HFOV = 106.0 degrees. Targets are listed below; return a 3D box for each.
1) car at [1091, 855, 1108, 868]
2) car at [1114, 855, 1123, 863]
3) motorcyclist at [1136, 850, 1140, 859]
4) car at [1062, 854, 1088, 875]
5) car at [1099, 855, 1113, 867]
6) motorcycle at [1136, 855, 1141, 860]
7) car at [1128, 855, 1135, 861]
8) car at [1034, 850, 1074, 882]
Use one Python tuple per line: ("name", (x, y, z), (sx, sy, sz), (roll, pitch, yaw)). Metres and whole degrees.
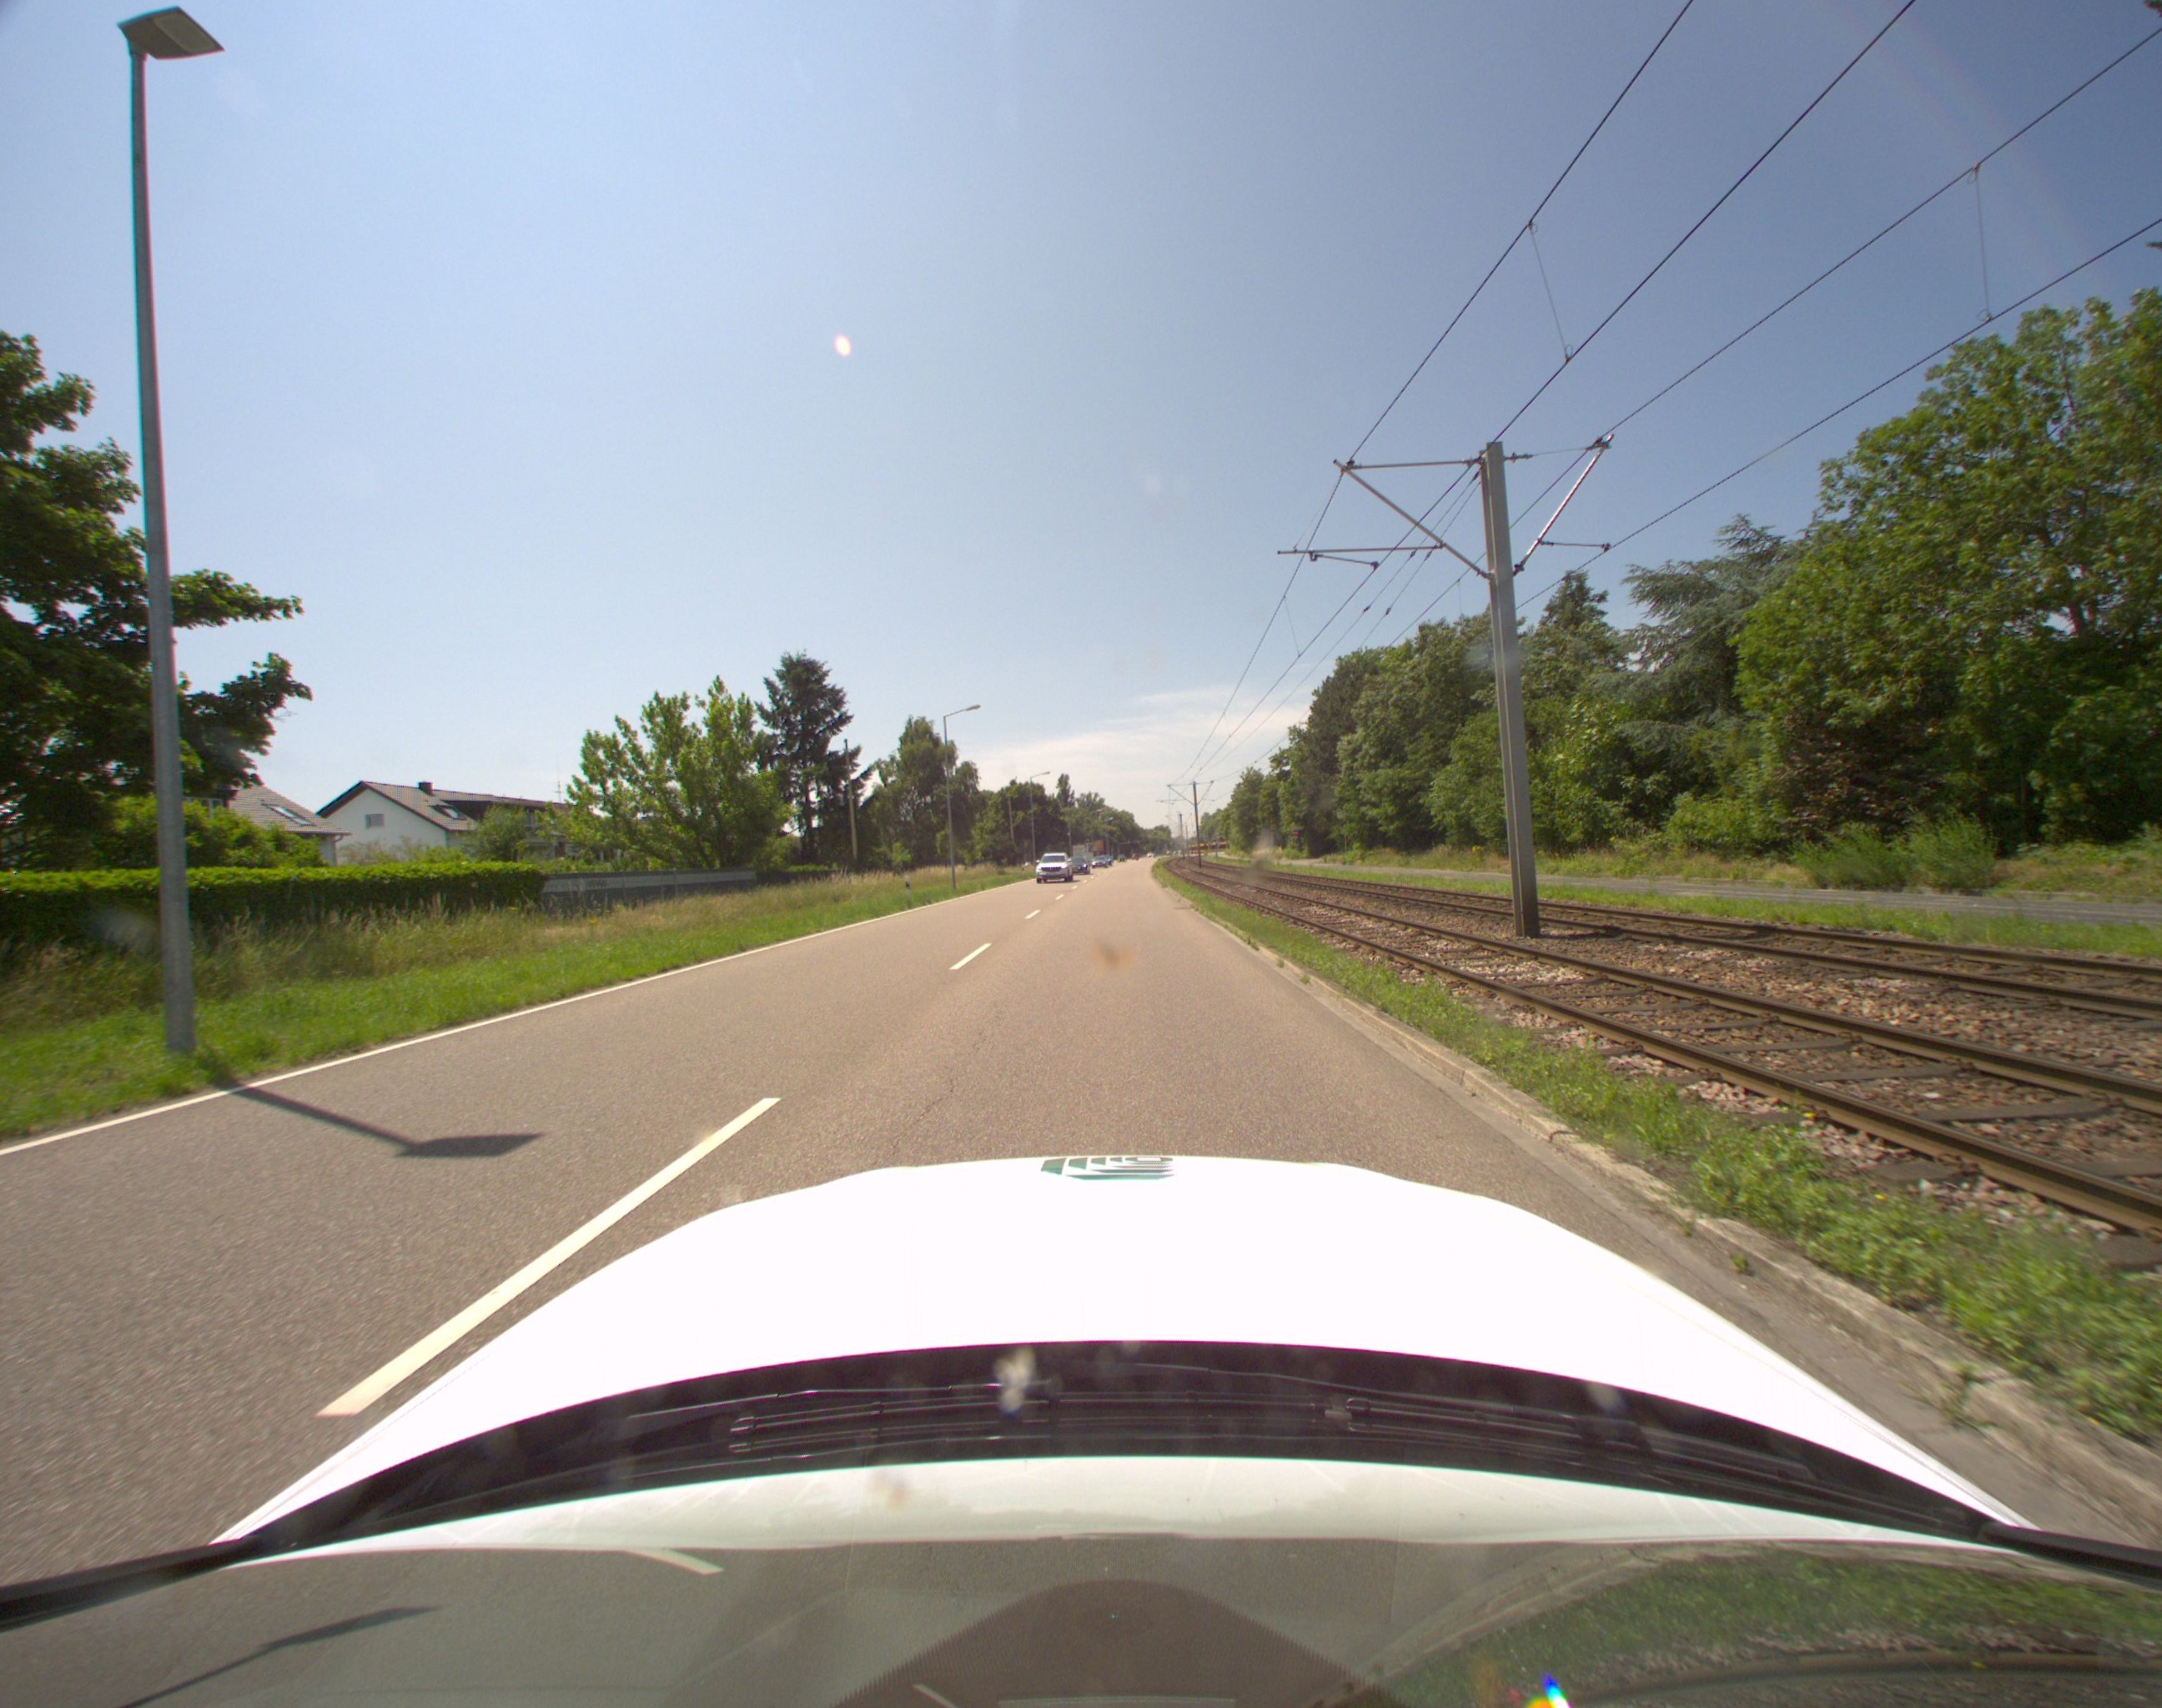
("car", (2.213, 0.880, 96.432), (1.810, 1.493, 4.367), (-3, -1, 3))
("car", (7.324, 1.041, 158.017), (1.620, 1.490, 4.367), (-3, -1, 3))
("motorcyclist", (12.271, 0.177, 175.695), (0.887, 1.905, 1.016), (-3, -1, 4))
("car", (-0.496, 0.847, 67.075), (1.810, 1.528, 4.367), (-3, -1, 3))
("car", (3.525, 0.929, 112.828), (1.810, 1.538, 4.367), (-3, -1, 3))
("motorcycle", (12.340, 0.801, 175.673), (0.965, 1.117, 2.736), (-3, -1, 4))
("car", (13.864, 1.134, 223.176), (1.618, 1.395, 4.372), (-3, -1, 7))
("car", (-1.597, 0.705, 49.309), (1.927, 1.796, 4.715), (-3, -1, 3))
